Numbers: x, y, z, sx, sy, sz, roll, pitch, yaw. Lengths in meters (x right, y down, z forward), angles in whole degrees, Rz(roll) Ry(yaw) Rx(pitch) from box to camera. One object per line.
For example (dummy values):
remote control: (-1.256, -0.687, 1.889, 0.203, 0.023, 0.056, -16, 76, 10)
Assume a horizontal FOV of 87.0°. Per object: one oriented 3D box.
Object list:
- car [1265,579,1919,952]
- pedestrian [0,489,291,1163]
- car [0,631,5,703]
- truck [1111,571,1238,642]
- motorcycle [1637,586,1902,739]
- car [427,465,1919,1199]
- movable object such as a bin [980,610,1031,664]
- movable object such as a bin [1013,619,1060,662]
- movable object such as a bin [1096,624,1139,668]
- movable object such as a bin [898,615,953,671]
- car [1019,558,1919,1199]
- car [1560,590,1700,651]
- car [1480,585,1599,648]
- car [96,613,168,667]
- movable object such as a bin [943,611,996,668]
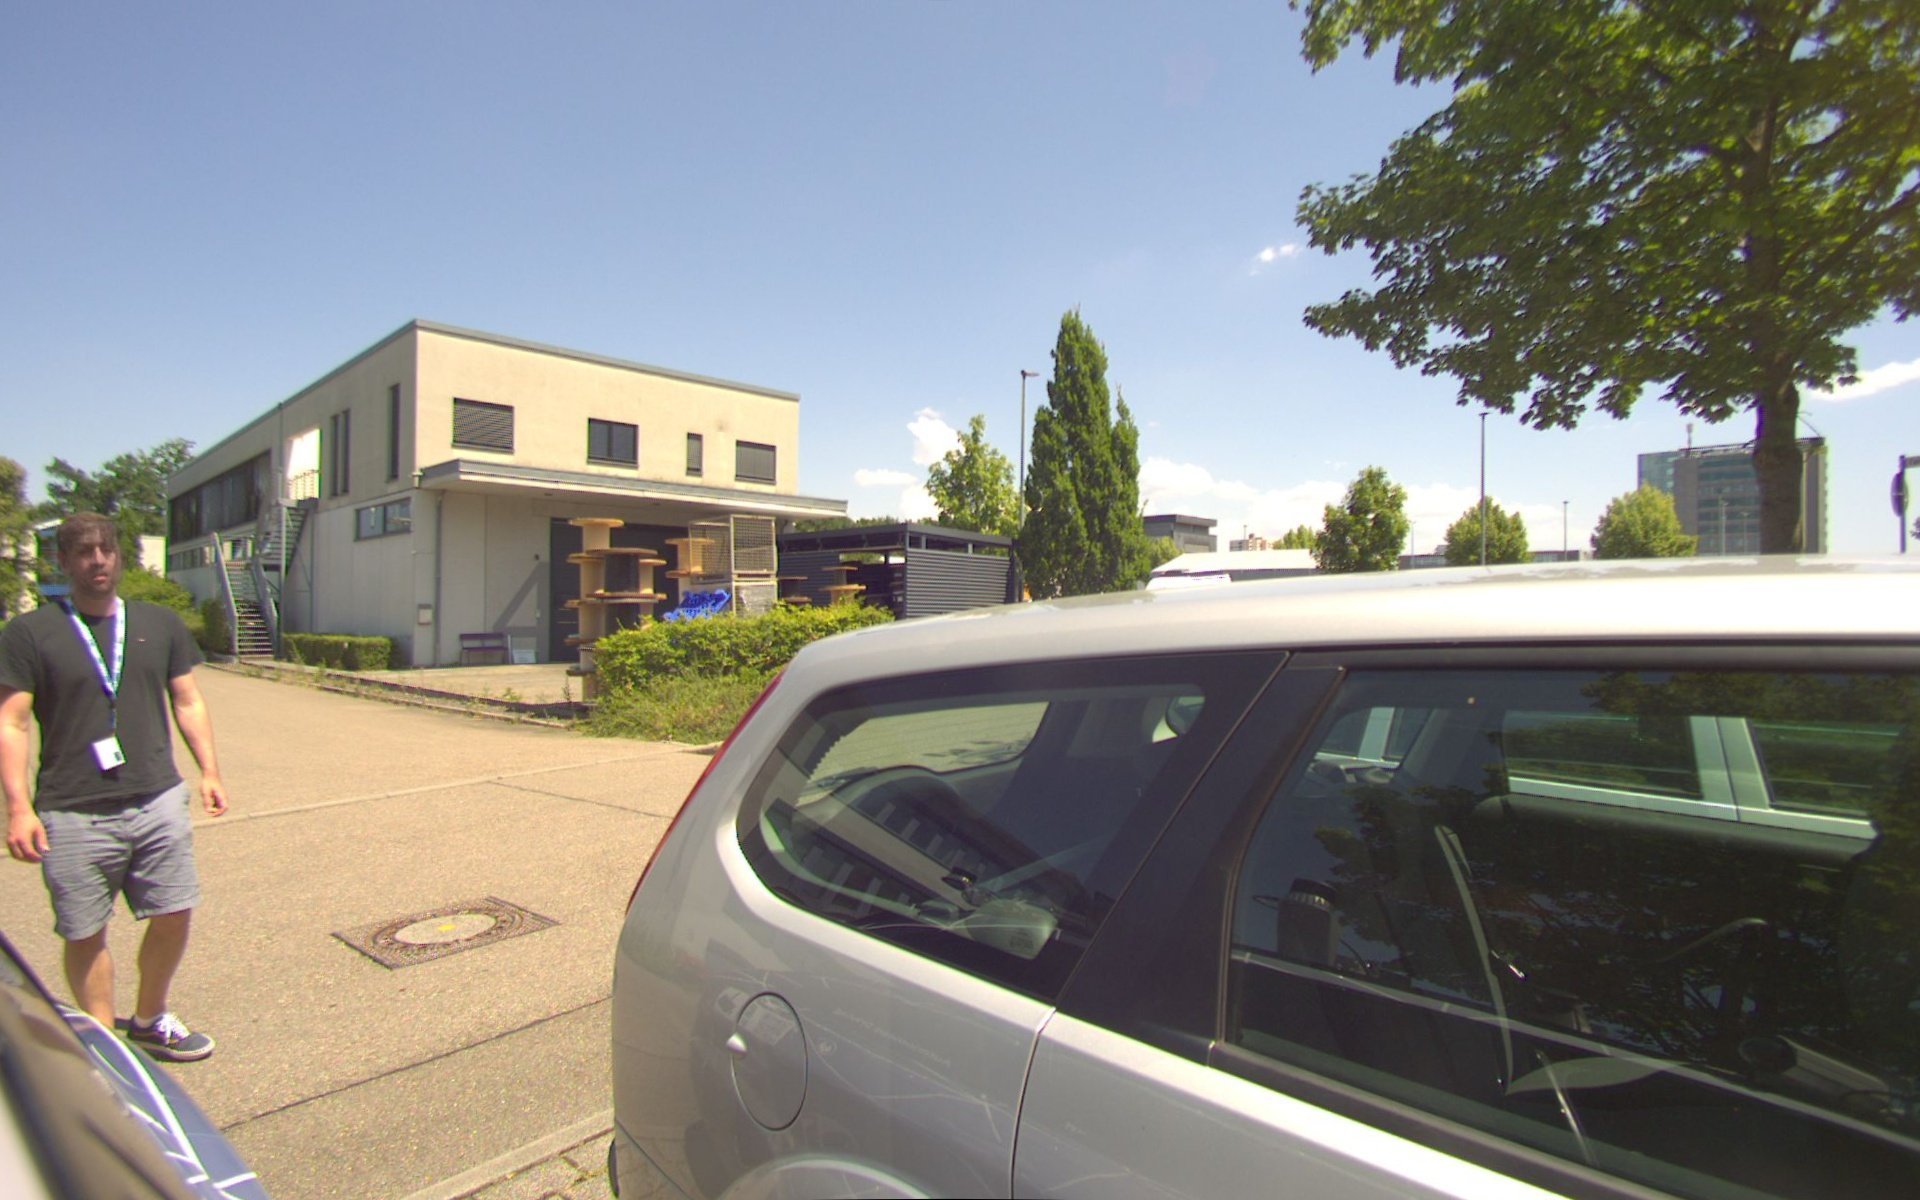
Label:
car: (3.709, 0.653, 5.012, 3.886, 1.459, 1.632, -1, 0, 37)
pedestrian: (-2.797, 0.620, 3.258, 0.904, 1.834, 0.849, -2, -1, 41)
car: (-19.198, 1.301, 19.005, 1.686, 1.402, 3.816, 1, -1, -41)
truck: (8.909, 0.245, 41.634, 2.420, 2.692, 5.614, -2, -1, 45)
motorcycle: (7.967, 0.594, 10.077, 1.986, 1.400, 0.478, -2, -1, 37)
car: (1.315, 0.664, 0.944, 4.345, 1.490, 1.702, -1, 0, 40)
movable object such as a bin: (1.179, 0.934, 26.017, 1.056, 1.346, 0.761, -1, 0, -41)
movable object such as a bin: (2.028, 1.049, 26.703, 0.973, 1.092, 0.761, -1, 0, -41)
movable object such as a bin: (3.590, 1.042, 23.072, 0.581, 0.977, 0.761, -1, 0, -40)
movable object such as a bin: (-0.828, 1.015, 24.280, 1.056, 1.280, 0.761, -1, 0, -41)
car: (2.250, 0.656, 3.071, 3.886, 1.490, 1.632, -1, 0, 37)
car: (18.410, 0.521, 27.791, 3.932, 1.533, 1.658, -1, 0, -31)
car: (17.200, 0.442, 29.995, 3.937, 1.751, 1.775, -1, 0, -40)
car: (-30.305, 1.398, 37.012, 1.762, 1.817, 4.004, -1, 0, -43)
movable object such as a bin: (0.245, 0.964, 25.065, 1.056, 1.346, 0.761, -1, 0, -41)
